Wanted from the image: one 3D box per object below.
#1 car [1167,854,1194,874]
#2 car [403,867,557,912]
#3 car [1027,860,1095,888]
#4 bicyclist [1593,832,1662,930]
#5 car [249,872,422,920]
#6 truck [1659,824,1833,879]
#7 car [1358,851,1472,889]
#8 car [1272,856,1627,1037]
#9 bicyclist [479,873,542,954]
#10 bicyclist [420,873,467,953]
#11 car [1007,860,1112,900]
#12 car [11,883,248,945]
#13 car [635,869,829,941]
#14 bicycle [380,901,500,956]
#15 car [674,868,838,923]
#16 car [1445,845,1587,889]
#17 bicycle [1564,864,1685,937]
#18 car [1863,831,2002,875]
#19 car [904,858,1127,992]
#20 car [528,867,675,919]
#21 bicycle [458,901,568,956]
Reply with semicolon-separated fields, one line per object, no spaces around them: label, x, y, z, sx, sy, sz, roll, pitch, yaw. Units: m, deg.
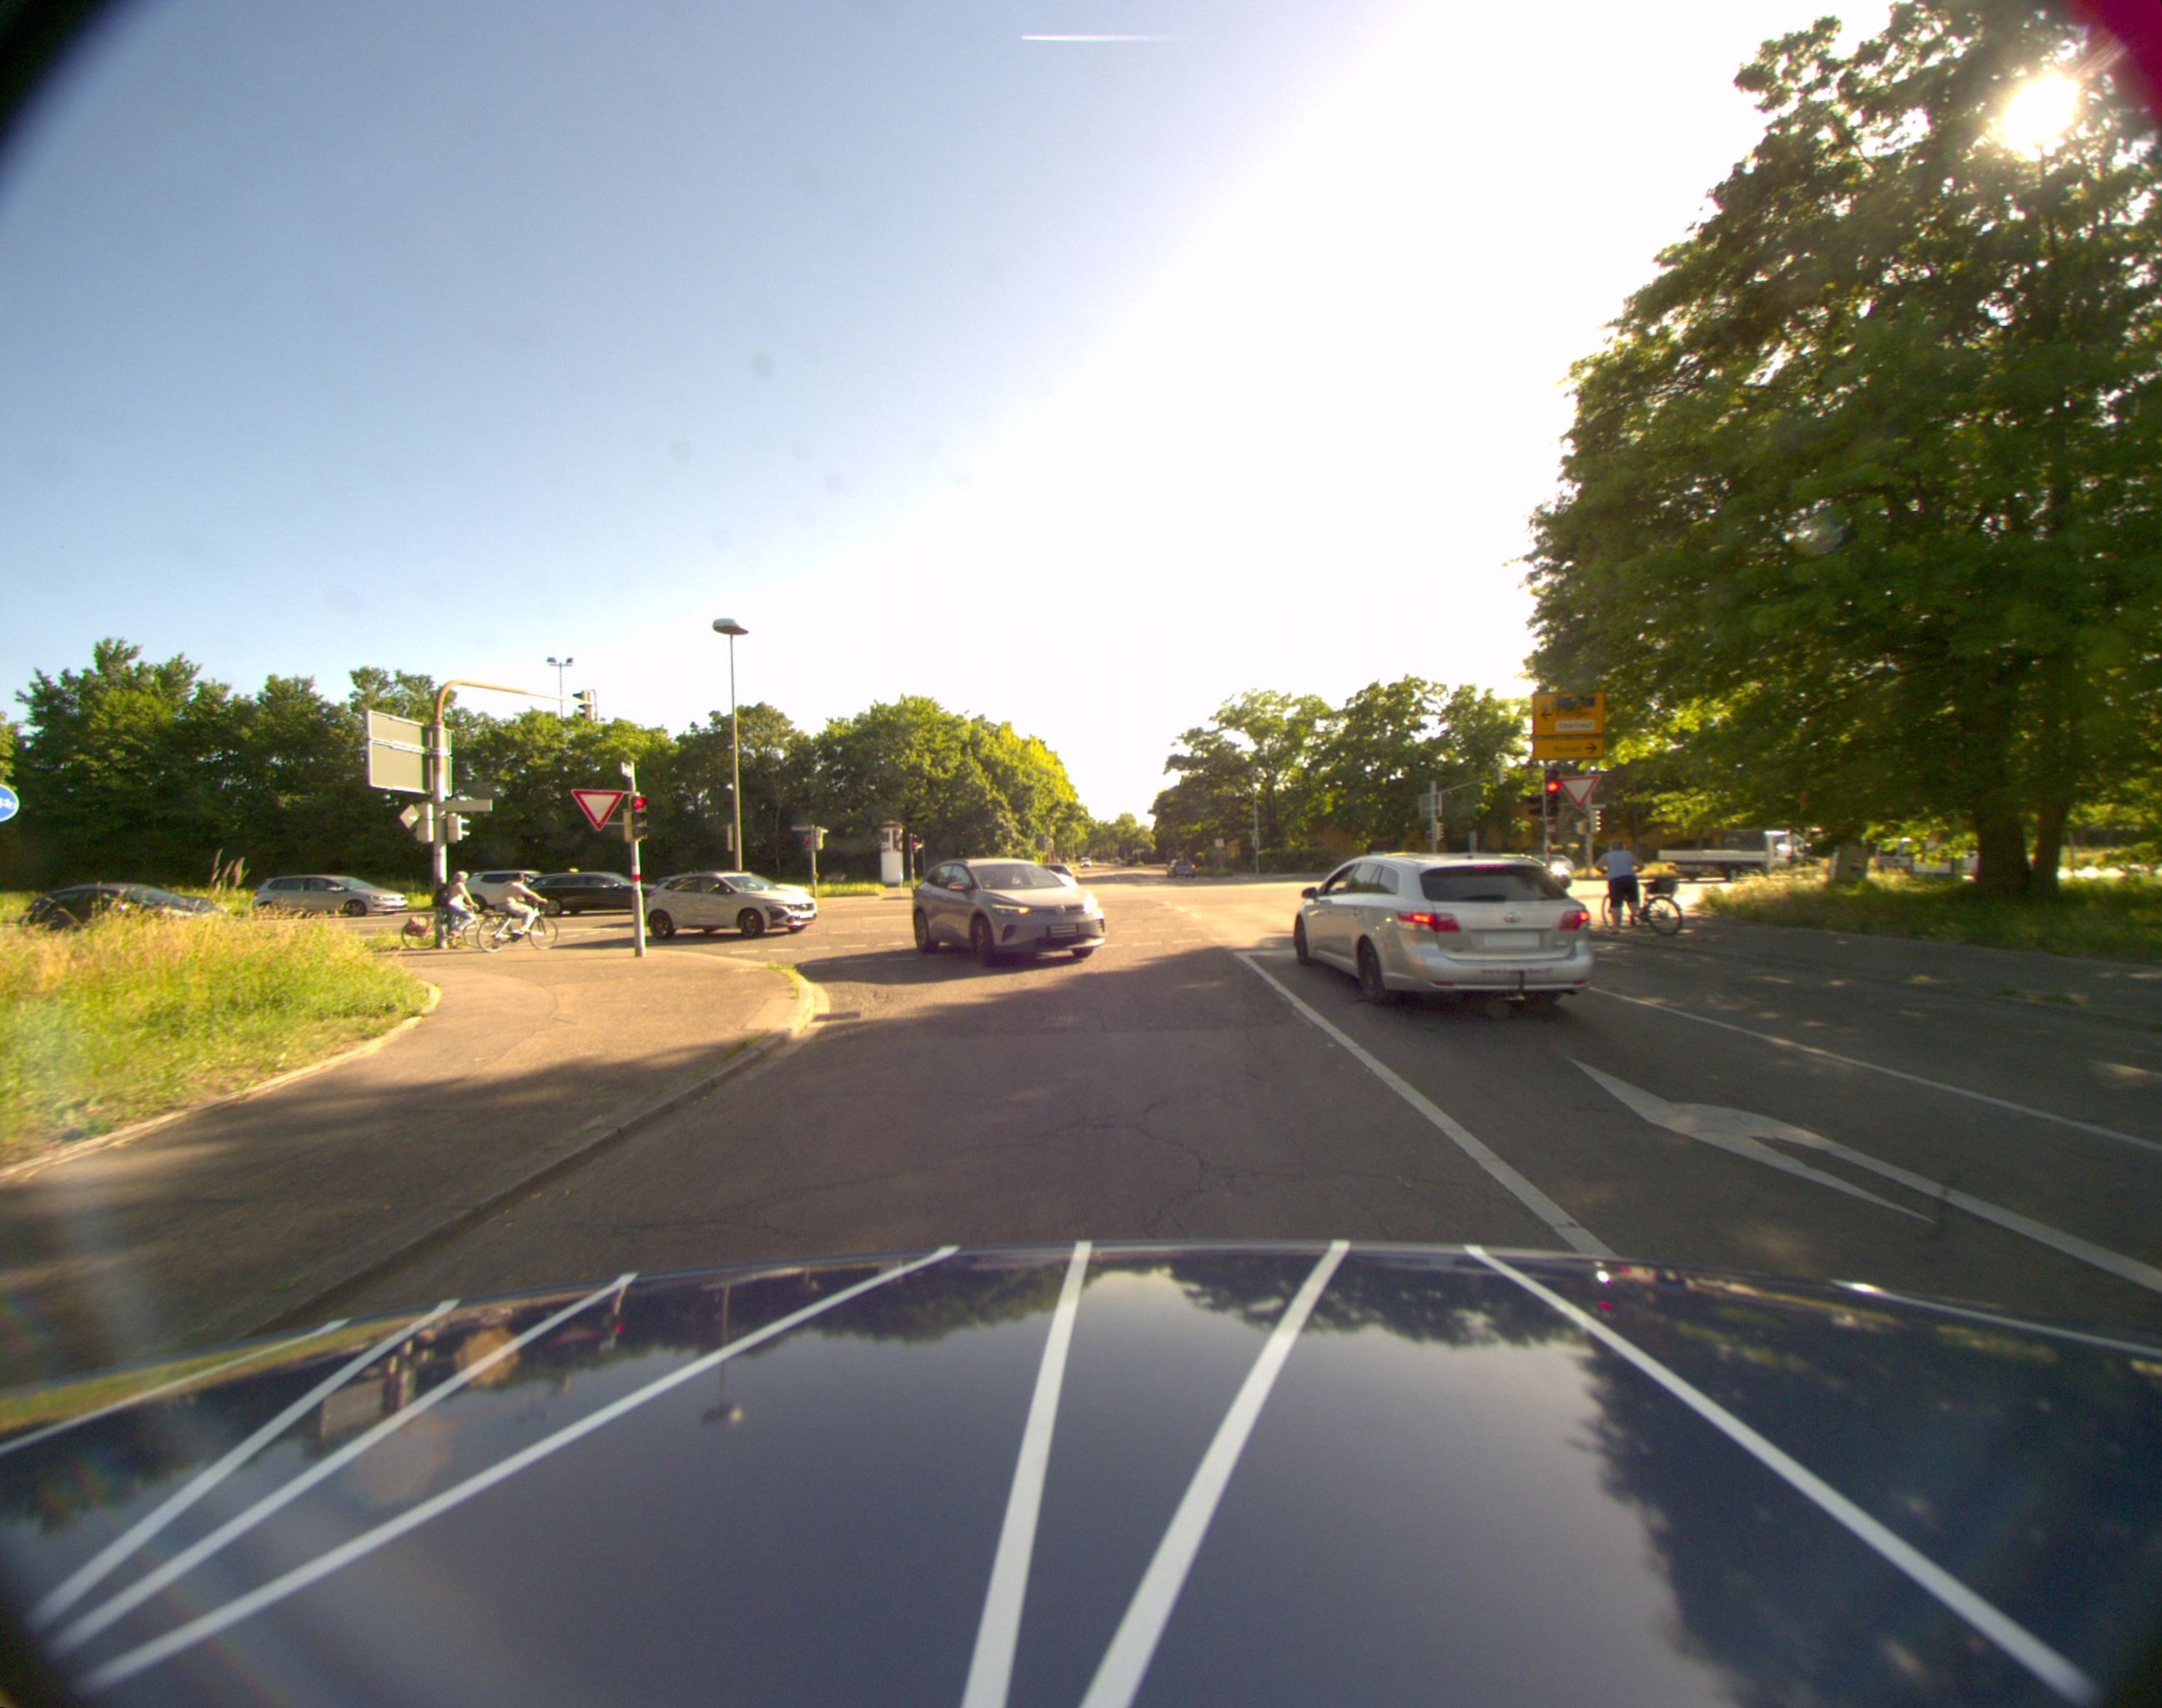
car;7.852;0.793;60.239;1.639;1.391;3.890;-1;2;1
car;-22.823;1.327;29.021;4.195;1.528;1.835;-1;0;-10
car;-1.125;1.098;41.839;3.598;1.423;1.552;-1;1;-9
bicyclist;9.418;0.452;13.114;0.542;1.632;0.829;-1;0;-3
car;-27.684;1.527;28.359;4.244;1.565;1.878;-1;0;-10
truck;30.309;-0.111;34.691;6.775;2.296;2.190;-1;0;-10
car;13.893;0.648;31.665;4.121;1.431;1.691;-1;1;-10
car;3.670;0.777;8.760;1.841;1.480;4.890;-1;0;2
bicyclist;-11.907;1.235;15.873;0.542;1.625;0.809;1;-3;13
bicyclist;-13.801;1.265;16.447;0.525;1.686;0.587;1;-1;31
car;-0.885;0.986;29.784;3.912;1.431;1.691;-1;1;-10
car;-26.318;1.625;21.169;3.912;1.432;1.691;-1;2;-10
car;-8.474;1.228;18.541;4.113;1.564;1.694;-2;1;16
bicycle;-13.811;1.582;16.433;0.529;1.070;1.874;1;-2;31
car;-10.107;1.262;23.956;4.364;1.477;1.918;-1;2;-8
car;16.308;0.451;28.612;4.364;1.477;1.919;-1;2;-6
bicycle;9.344;0.753;13.171;0.528;1.135;2.025;-1;0;-3
car;35.925;-0.079;32.104;4.365;1.719;1.918;-1;2;-11
car;-1.278;0.968;12.621;1.997;1.631;4.353;-2;2;-30
car;-16.580;1.326;26.480;4.003;1.532;1.621;-1;2;-17
bicycle;-11.863;1.534;15.951;0.530;1.069;1.873;1;-3;14
